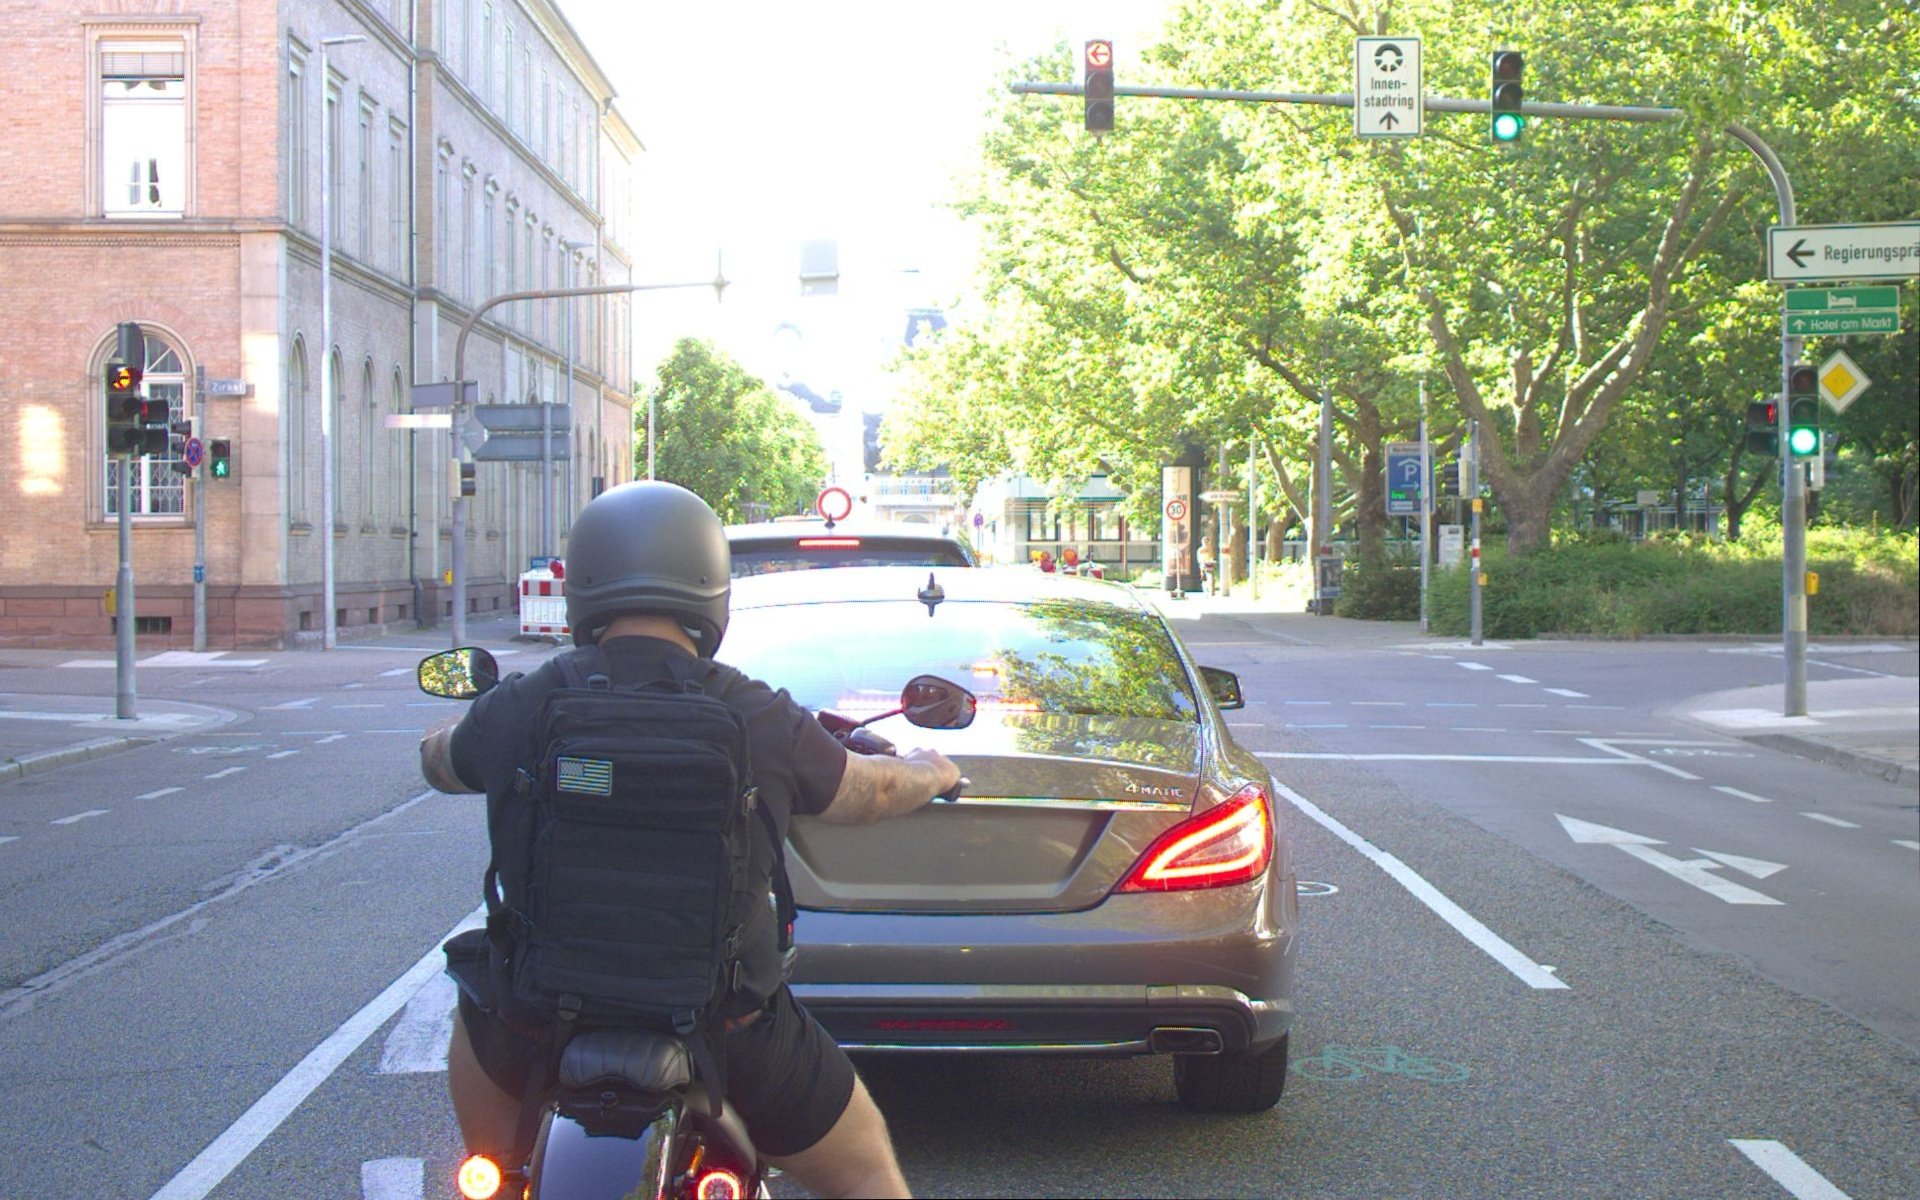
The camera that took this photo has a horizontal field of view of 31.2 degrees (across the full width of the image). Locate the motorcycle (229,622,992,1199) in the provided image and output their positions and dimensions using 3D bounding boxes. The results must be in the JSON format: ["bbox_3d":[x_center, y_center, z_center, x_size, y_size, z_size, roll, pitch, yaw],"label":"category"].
[{"bbox_3d":[-0.463,0.737,5.544,0.962,1.352,2.320,1,1,-1],"label":"motorcycle"}]

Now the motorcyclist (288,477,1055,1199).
[{"bbox_3d":[-0.413,0.619,5.273,1.061,1.577,0.908,1,0,-1],"label":"motorcyclist"}]

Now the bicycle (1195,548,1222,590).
[{"bbox_3d":[7.079,-0.882,97.885,0.716,1.168,2.176,1,1,3],"label":"bicycle"}]

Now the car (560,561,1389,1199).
[{"bbox_3d":[-0.181,0.623,9.980,1.902,1.436,4.289,0,1,-6],"label":"car"}]

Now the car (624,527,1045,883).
[{"bbox_3d":[-0.645,0.417,16.775,1.813,1.530,3.849,0,1,-3],"label":"car"}]
